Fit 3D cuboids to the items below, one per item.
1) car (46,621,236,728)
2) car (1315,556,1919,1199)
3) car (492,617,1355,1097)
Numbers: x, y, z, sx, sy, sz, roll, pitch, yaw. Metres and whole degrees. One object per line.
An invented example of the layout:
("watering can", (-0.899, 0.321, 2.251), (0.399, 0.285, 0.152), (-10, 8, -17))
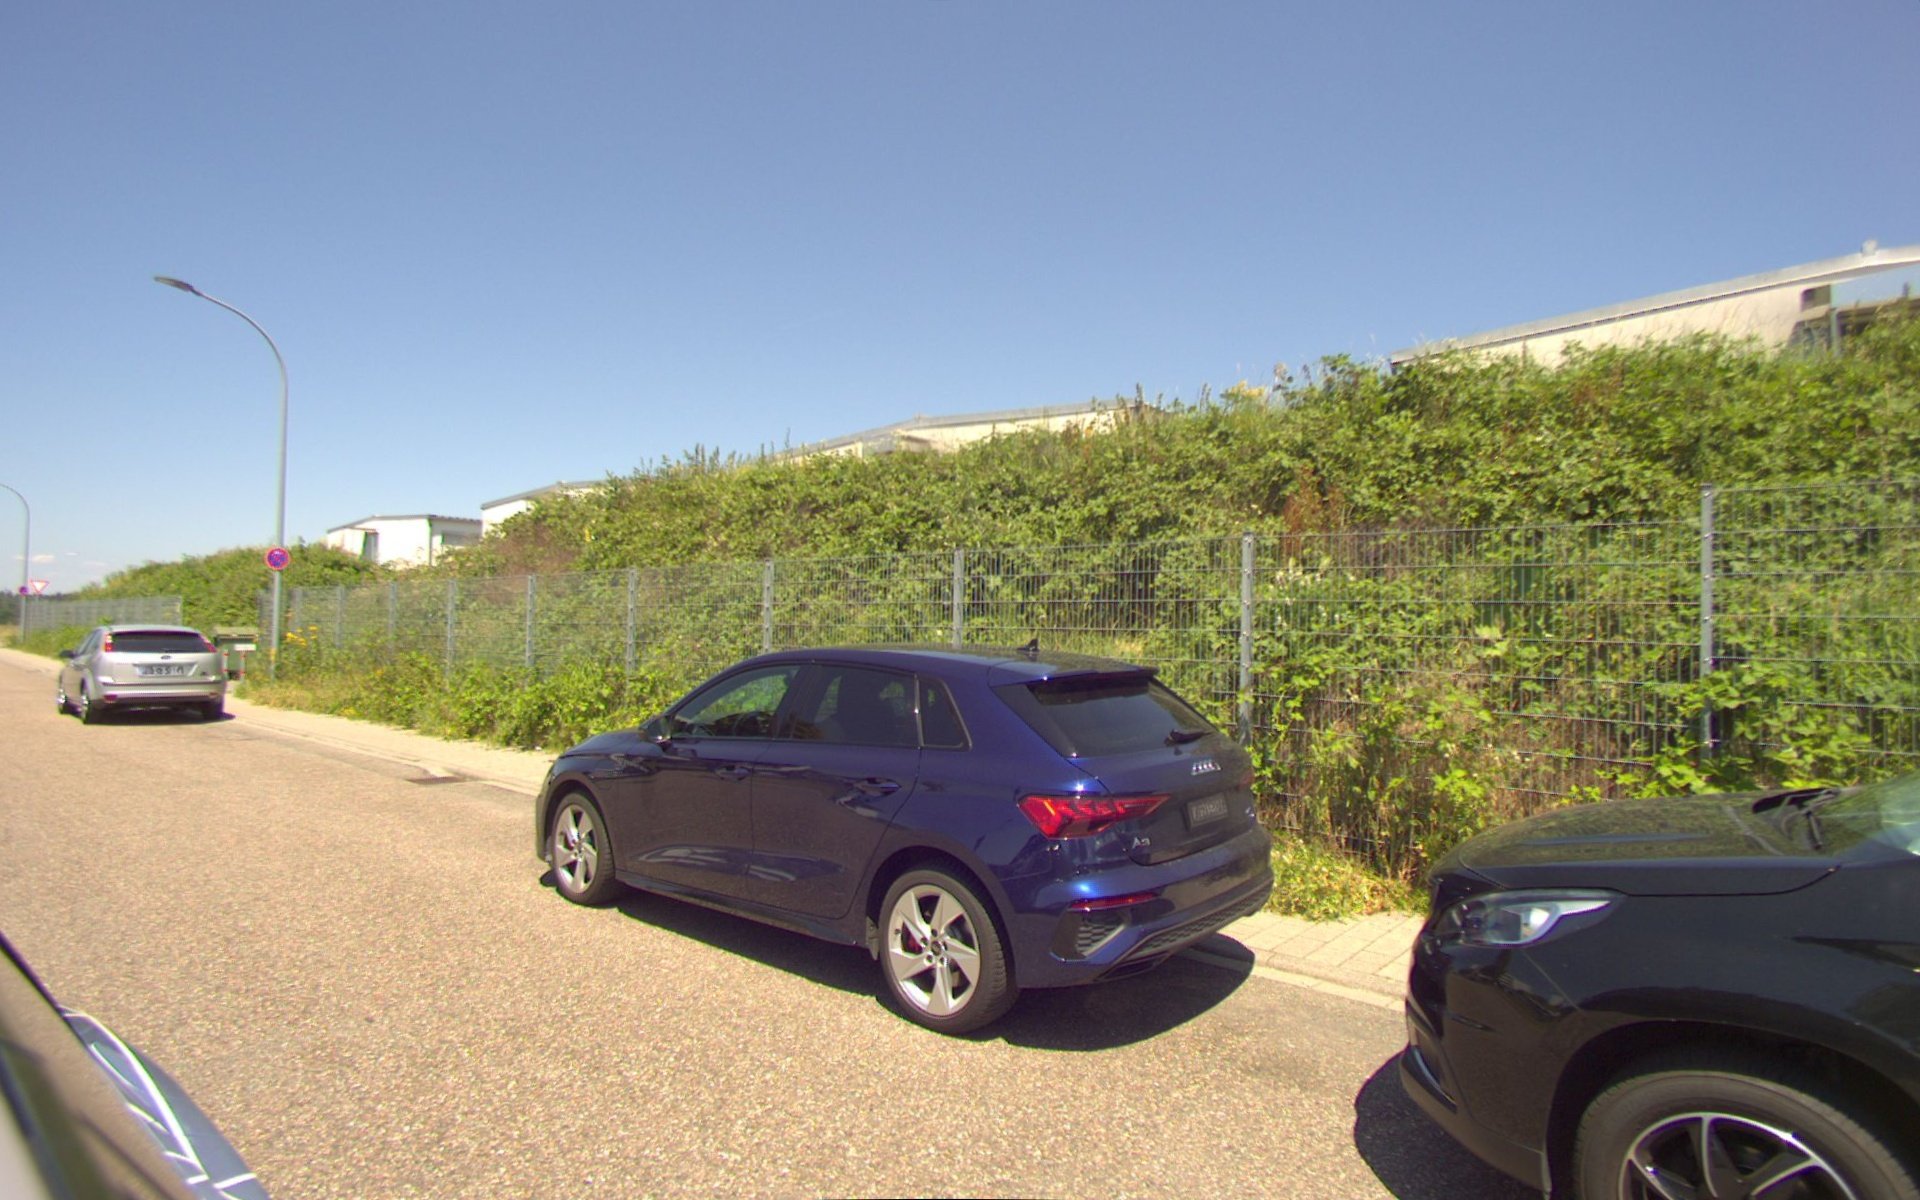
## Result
("car", (-13.373, 1.141, 16.447), (3.948, 1.531, 1.828), (-2, -4, 43))
("car", (2.961, 0.726, 1.764), (4.130, 1.567, 1.637), (-1, -4, 40))
("car", (-0.445, 0.866, 5.239), (4.278, 1.466, 1.915), (-1, -4, 40))
